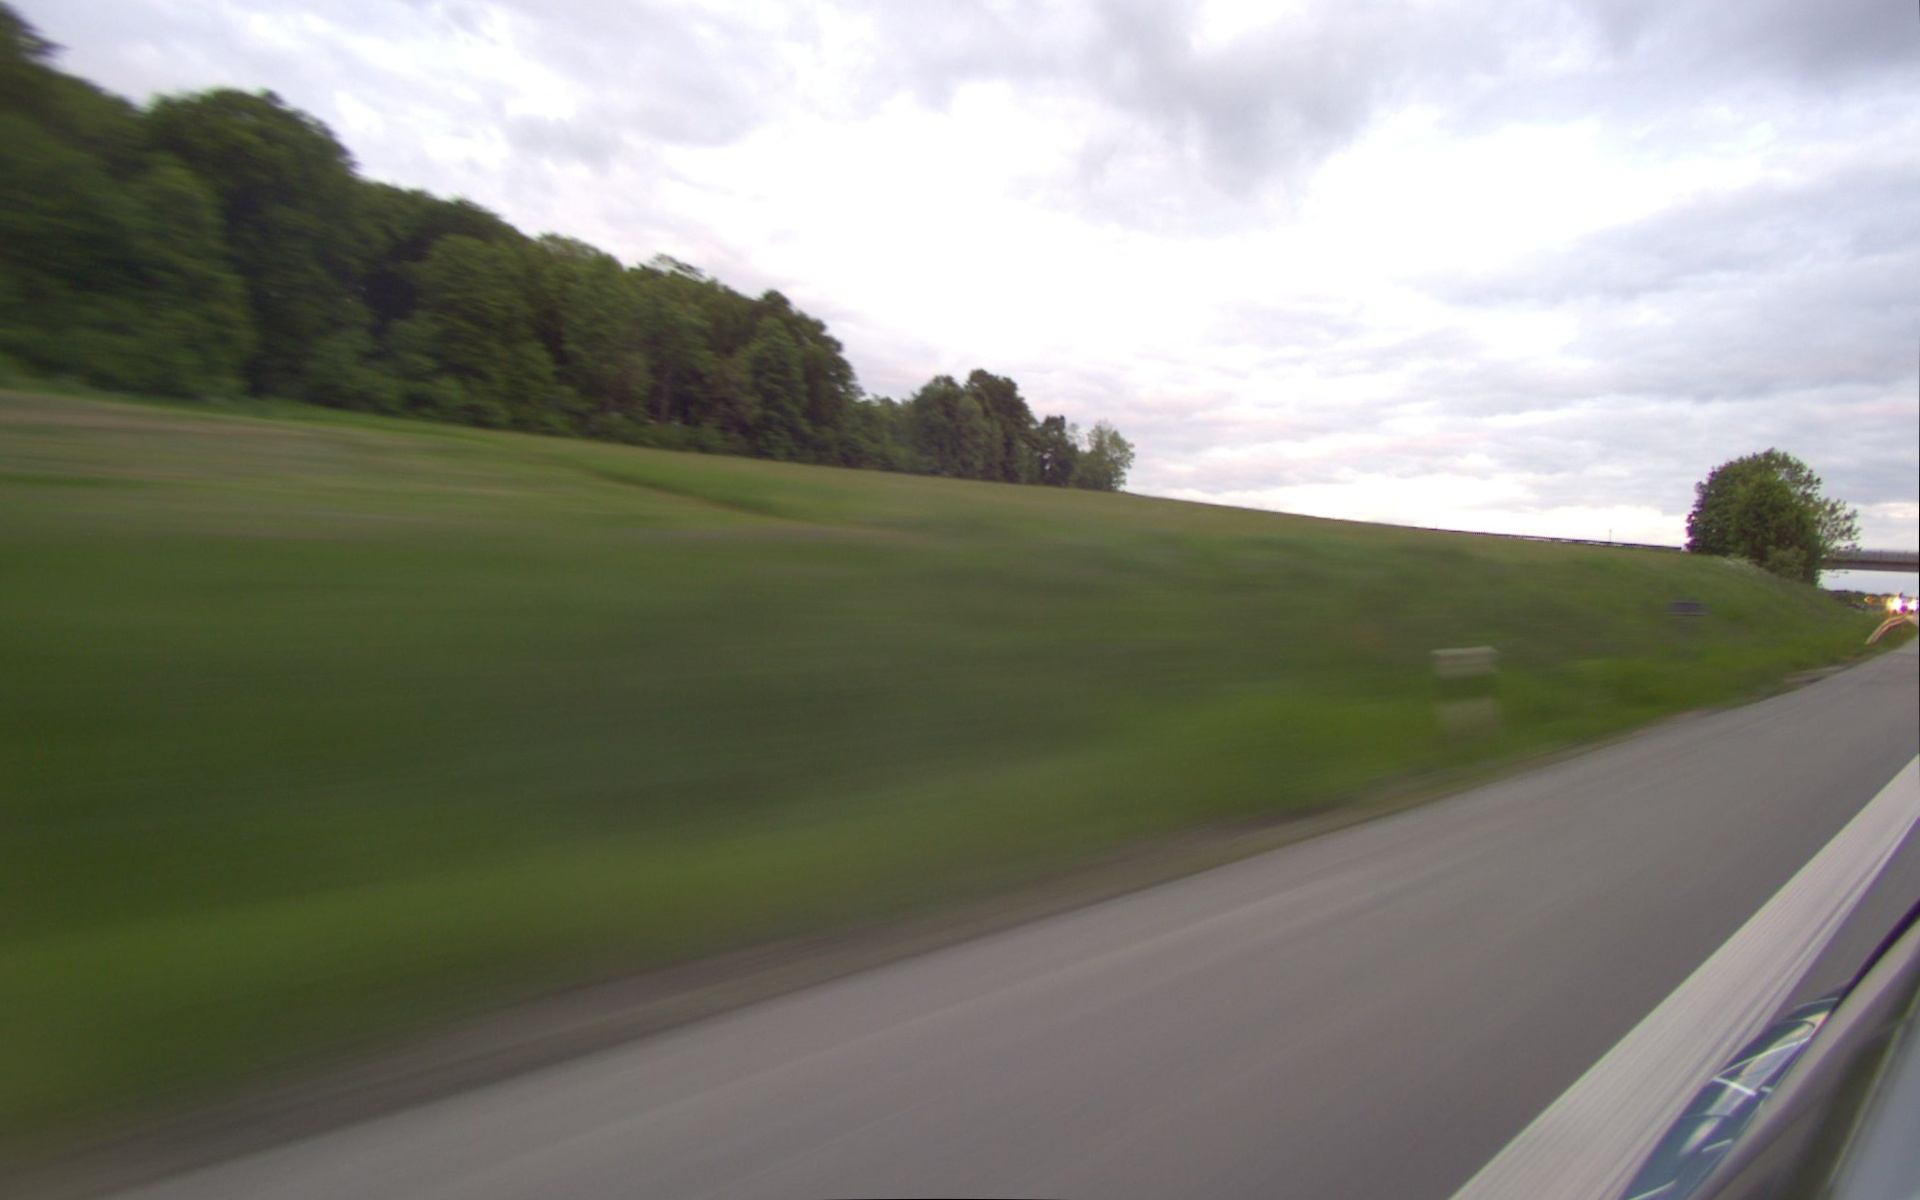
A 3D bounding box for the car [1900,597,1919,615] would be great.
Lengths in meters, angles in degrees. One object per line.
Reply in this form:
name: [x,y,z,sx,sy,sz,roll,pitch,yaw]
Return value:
car: [109.525,0.690,116.261,1.912,1.860,3.942,4,1,39]
